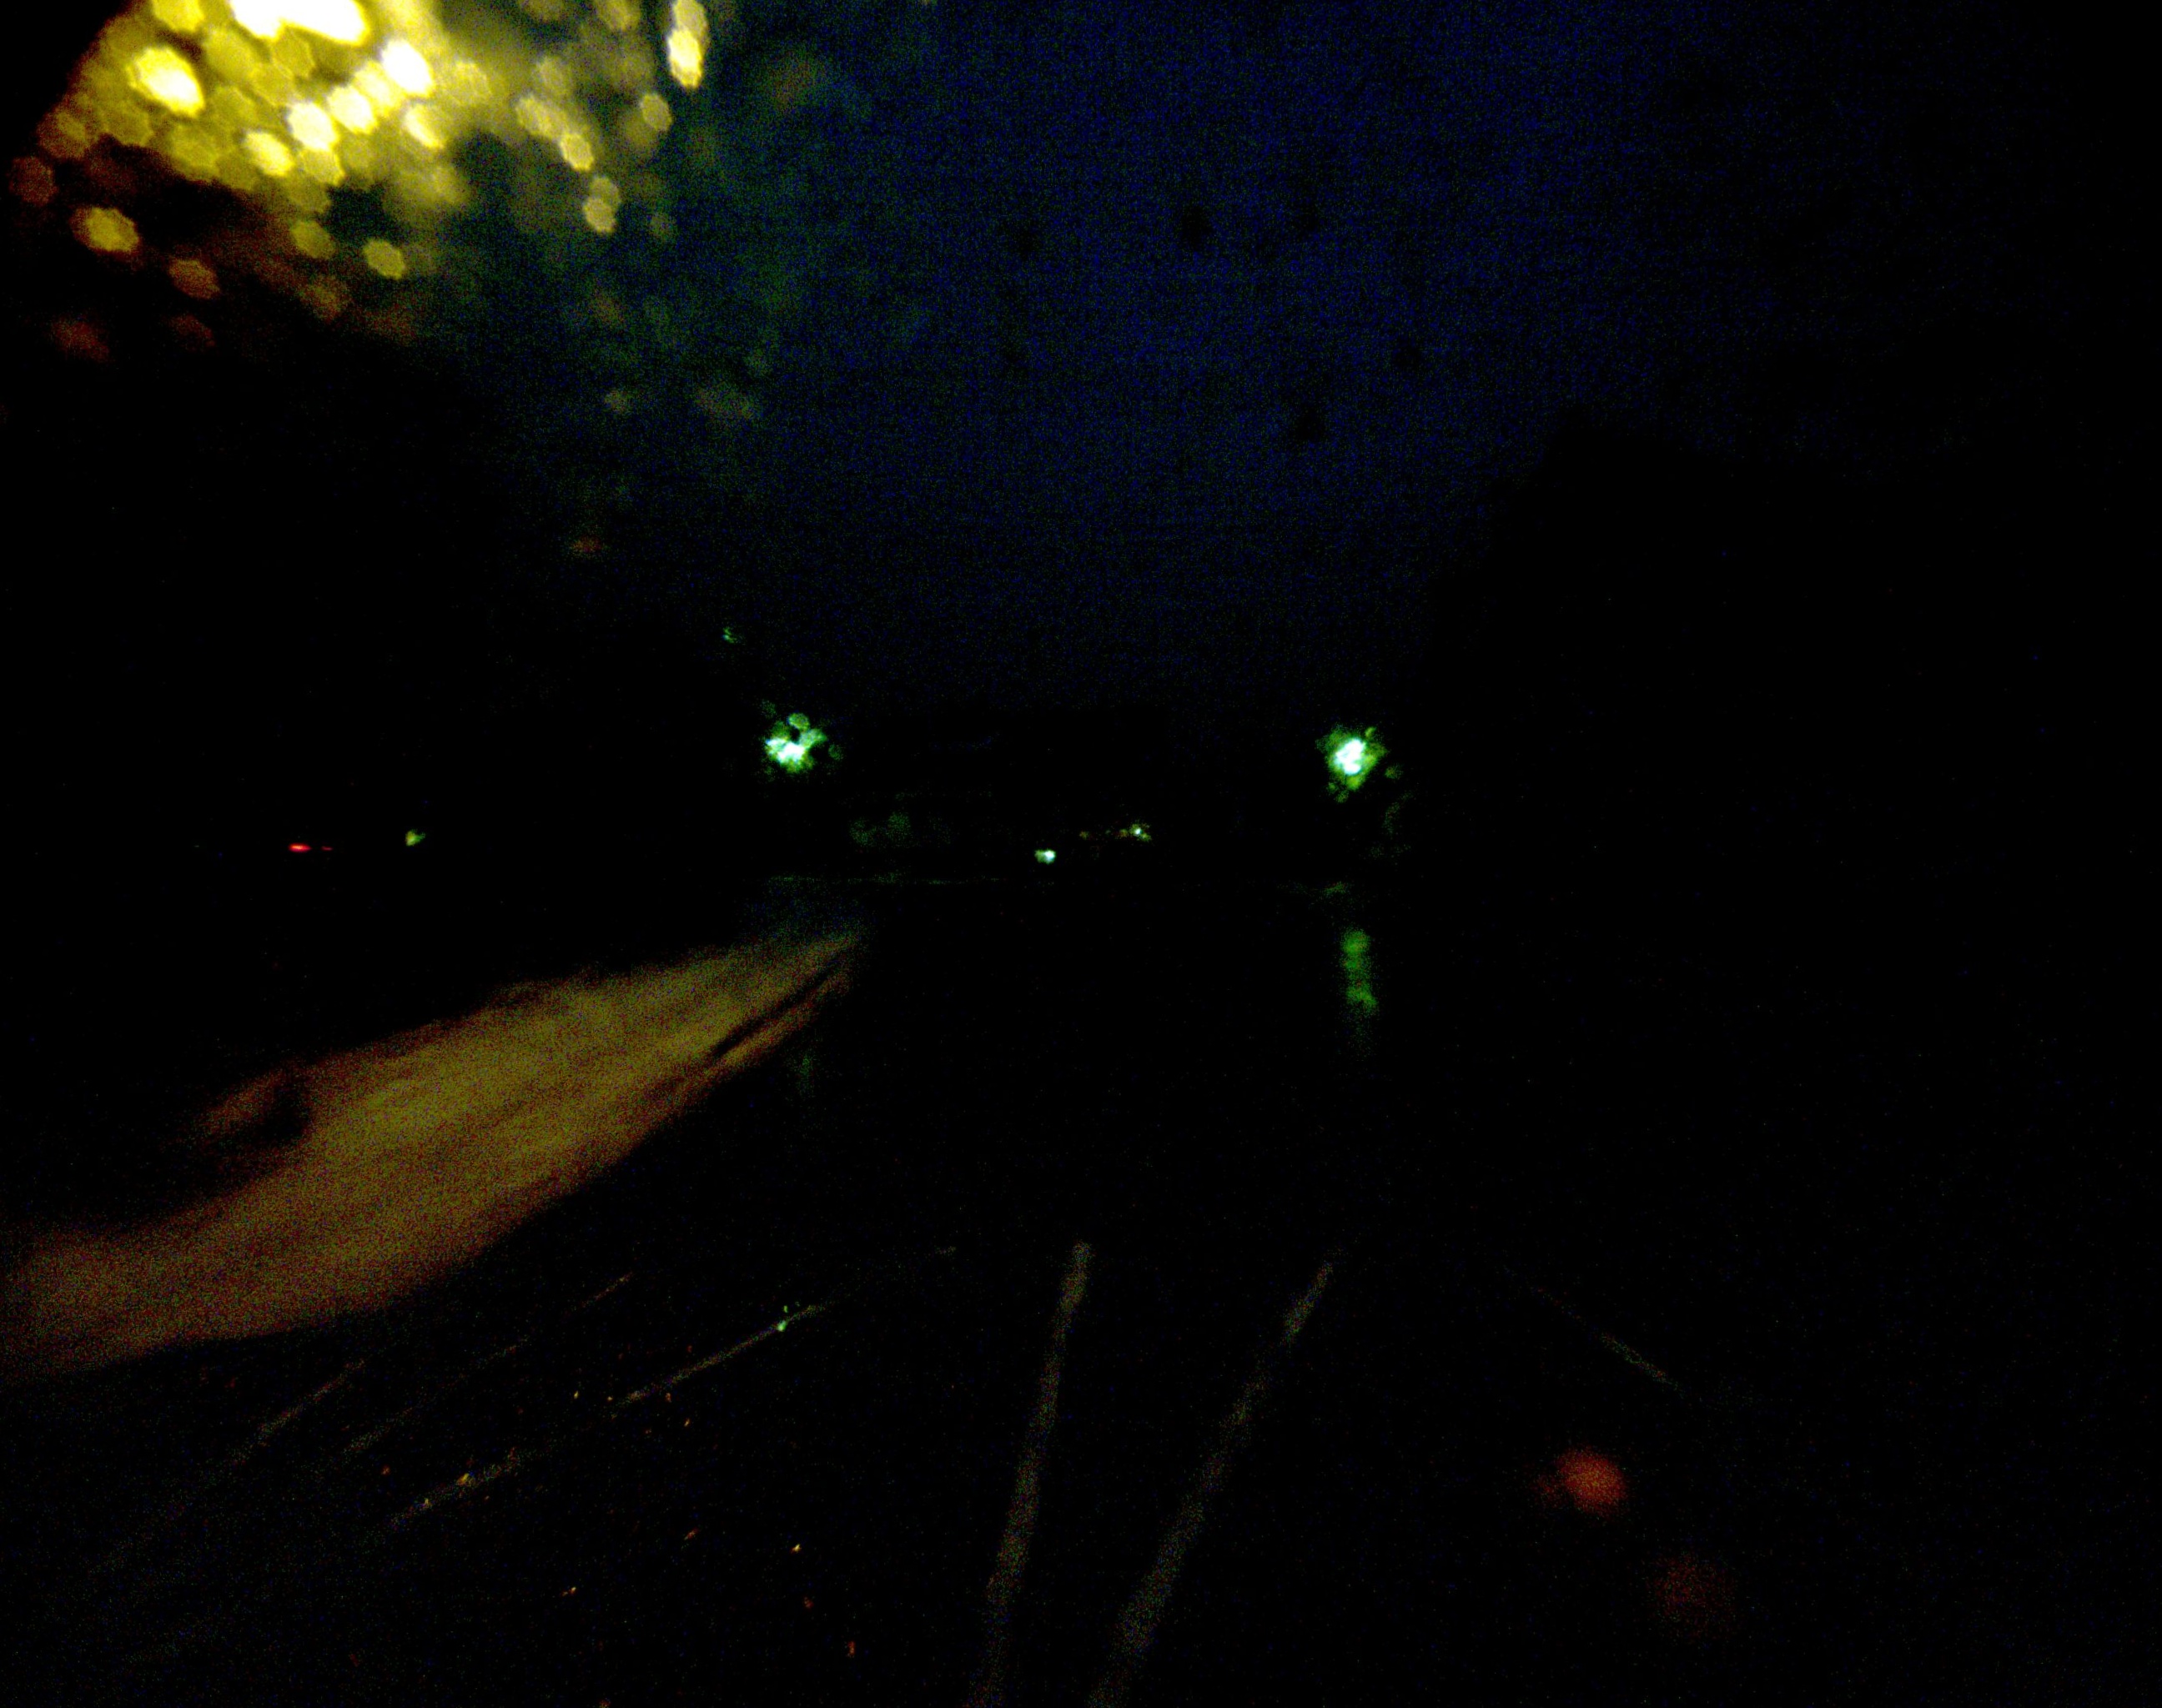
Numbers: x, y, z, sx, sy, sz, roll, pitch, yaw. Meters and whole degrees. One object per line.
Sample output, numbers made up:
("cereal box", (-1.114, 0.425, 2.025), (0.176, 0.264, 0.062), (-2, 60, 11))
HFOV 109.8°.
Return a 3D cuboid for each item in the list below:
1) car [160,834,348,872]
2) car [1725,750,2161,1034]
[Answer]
("car", (-32.392, -0.032, 29.901), (4.932, 1.373, 1.999), (1, 0, -5))
("car", (9.178, 0.132, 6.660), (5.275, 2.003, 2.213), (-3, 3, -2))
